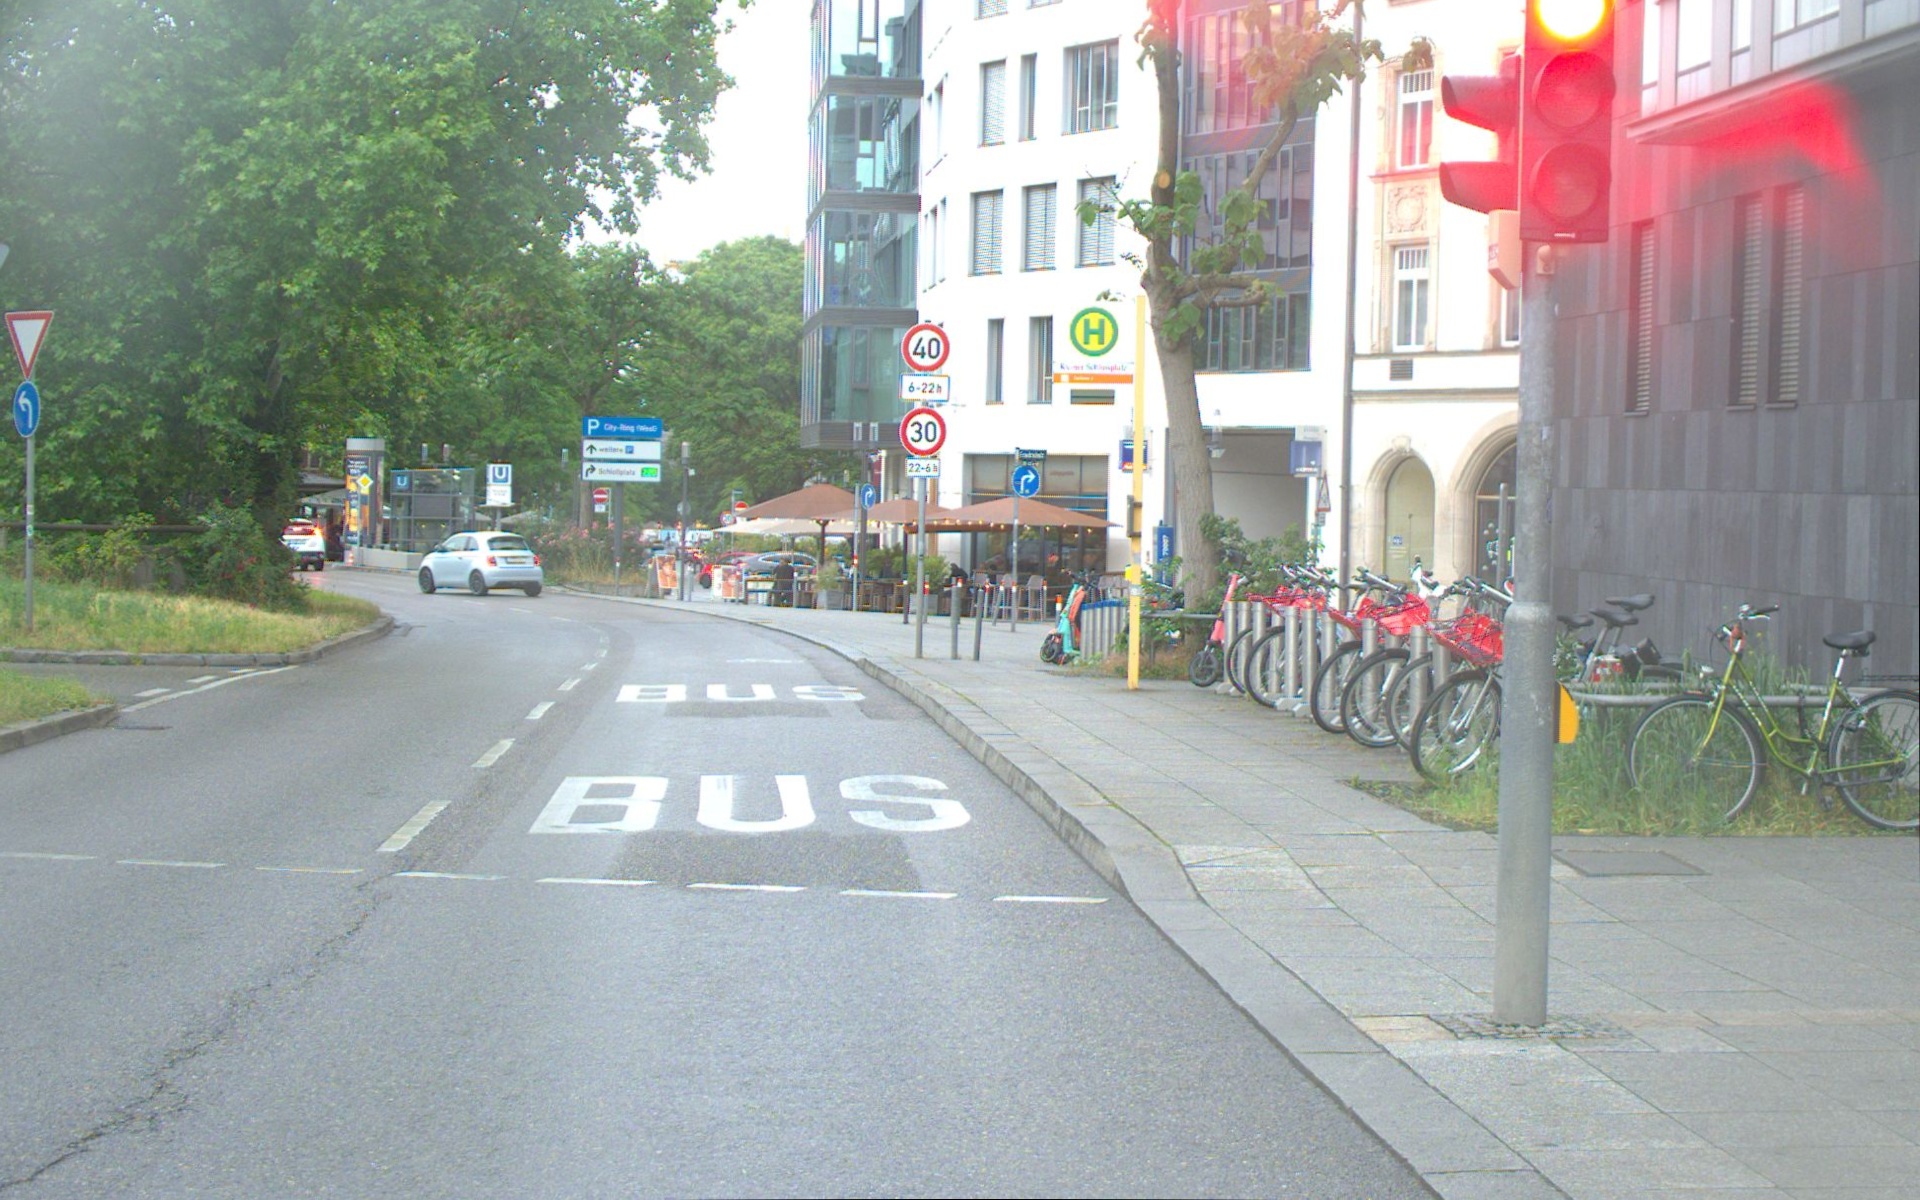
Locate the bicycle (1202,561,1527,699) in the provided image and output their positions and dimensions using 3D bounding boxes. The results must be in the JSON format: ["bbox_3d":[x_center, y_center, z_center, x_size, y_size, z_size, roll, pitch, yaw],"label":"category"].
[{"bbox_3d":[3.291,0.244,28.064,2.535,1.083,0.677,1,1,-5],"label":"bicycle"}]

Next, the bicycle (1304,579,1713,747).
[{"bbox_3d":[3.577,0.406,22.501,2.535,1.056,0.677,1,1,-5],"label":"bicycle"}]

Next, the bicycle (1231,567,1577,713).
[{"bbox_3d":[3.400,0.302,26.423,2.535,1.083,0.677,1,1,-5],"label":"bicycle"}]

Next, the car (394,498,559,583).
[{"bbox_3d":[-11.588,-1.428,82.244,1.994,1.641,3.999,5,1,-40],"label":"car"}]

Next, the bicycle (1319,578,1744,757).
[{"bbox_3d":[3.581,0.419,21.634,2.535,1.083,0.677,1,1,-5],"label":"bicycle"}]

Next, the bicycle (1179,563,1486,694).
[{"bbox_3d":[3.191,0.238,29.534,2.535,1.083,0.627,1,1,-5],"label":"bicycle"}]

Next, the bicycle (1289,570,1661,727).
[{"bbox_3d":[3.673,0.340,24.606,2.535,1.083,0.677,1,1,-5],"label":"bicycle"}]

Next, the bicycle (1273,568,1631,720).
[{"bbox_3d":[3.650,0.321,25.584,2.535,1.083,0.677,1,1,-5],"label":"bicycle"}]

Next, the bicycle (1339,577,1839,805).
[{"bbox_3d":[3.414,0.489,18.744,2.535,1.083,0.677,3,1,-5],"label":"bicycle"}]

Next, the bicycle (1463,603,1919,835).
[{"bbox_3d":[3.745,0.563,16.464,2.535,1.053,0.677,1,1,-5],"label":"bicycle"}]

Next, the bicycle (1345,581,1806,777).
[{"bbox_3d":[3.559,0.453,19.969,2.535,1.083,0.677,1,1,-5],"label":"bicycle"}]

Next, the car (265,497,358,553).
[{"bbox_3d":[-20.711,-2.404,109.706,2.178,1.695,4.001,1,1,-22],"label":"car"}]

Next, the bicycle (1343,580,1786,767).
[{"bbox_3d":[3.648,0.439,20.824,2.535,1.083,0.677,1,1,-5],"label":"bicycle"}]

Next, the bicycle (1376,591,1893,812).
[{"bbox_3d":[3.500,0.523,17.941,2.535,1.083,0.677,1,1,-5],"label":"bicycle"}]

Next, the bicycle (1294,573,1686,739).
[{"bbox_3d":[3.595,0.375,23.410,2.535,1.083,0.677,1,1,-5],"label":"bicycle"}]

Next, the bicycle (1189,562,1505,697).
[{"bbox_3d":[3.235,0.242,28.811,2.535,1.083,0.677,1,1,-5],"label":"bicycle"}]

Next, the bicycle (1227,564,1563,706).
[{"bbox_3d":[3.426,0.273,27.175,2.535,1.083,0.677,1,1,-5],"label":"bicycle"}]
